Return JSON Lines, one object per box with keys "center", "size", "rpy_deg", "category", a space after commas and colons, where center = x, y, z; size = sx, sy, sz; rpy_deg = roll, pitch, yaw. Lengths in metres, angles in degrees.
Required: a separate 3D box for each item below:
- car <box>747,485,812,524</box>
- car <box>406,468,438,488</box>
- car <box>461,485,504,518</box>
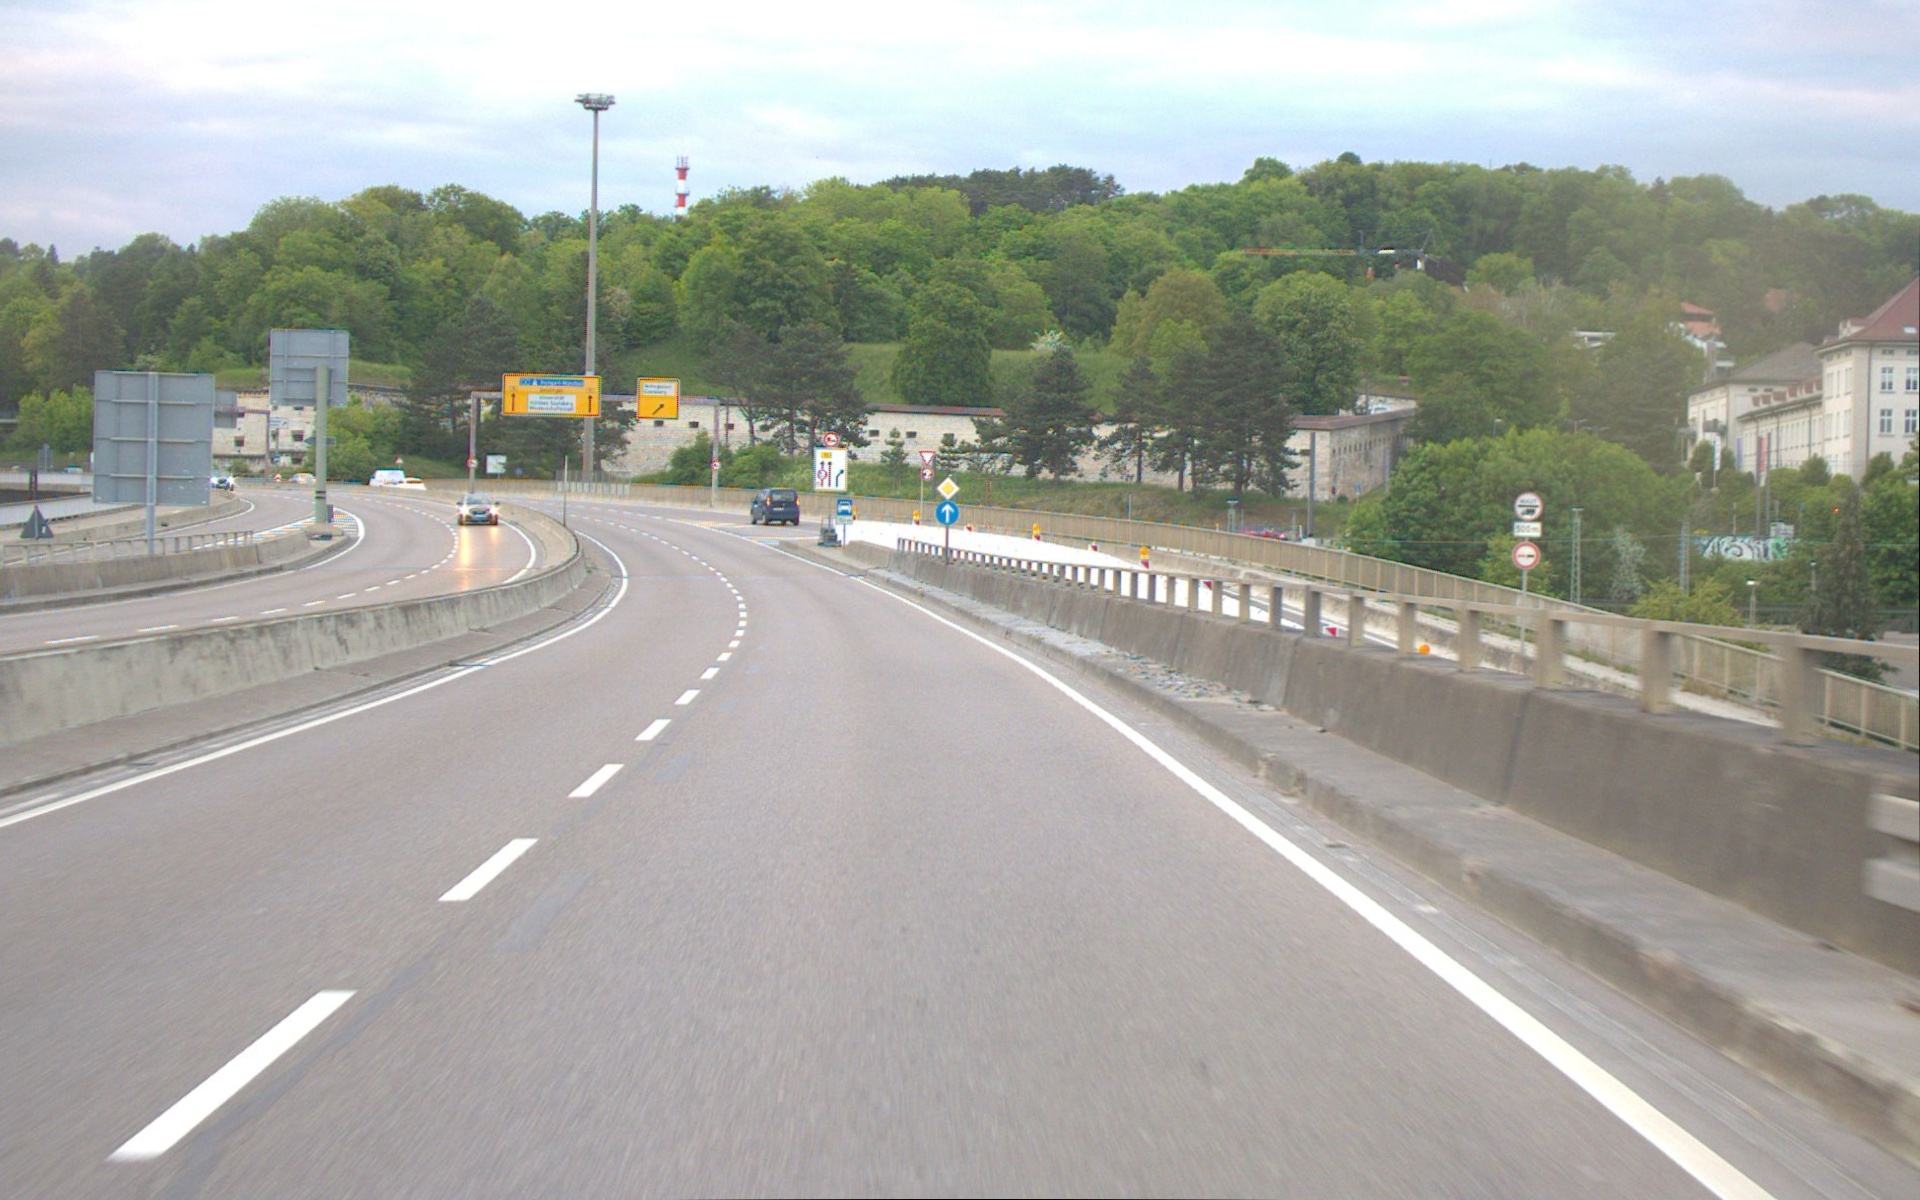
{"center": [-8.938, -4.727, 170.025], "size": [2.304, 1.757, 4.264], "rpy_deg": [2, 2, -15], "category": "car"}
{"center": [-38.471, -8.732, 245.974], "size": [1.630, 1.383, 4.002], "rpy_deg": [-1, 3, -18], "category": "car"}
{"center": [-22.286, -4.583, 160.419], "size": [1.829, 1.475, 4.288], "rpy_deg": [0, 1, -10], "category": "car"}
